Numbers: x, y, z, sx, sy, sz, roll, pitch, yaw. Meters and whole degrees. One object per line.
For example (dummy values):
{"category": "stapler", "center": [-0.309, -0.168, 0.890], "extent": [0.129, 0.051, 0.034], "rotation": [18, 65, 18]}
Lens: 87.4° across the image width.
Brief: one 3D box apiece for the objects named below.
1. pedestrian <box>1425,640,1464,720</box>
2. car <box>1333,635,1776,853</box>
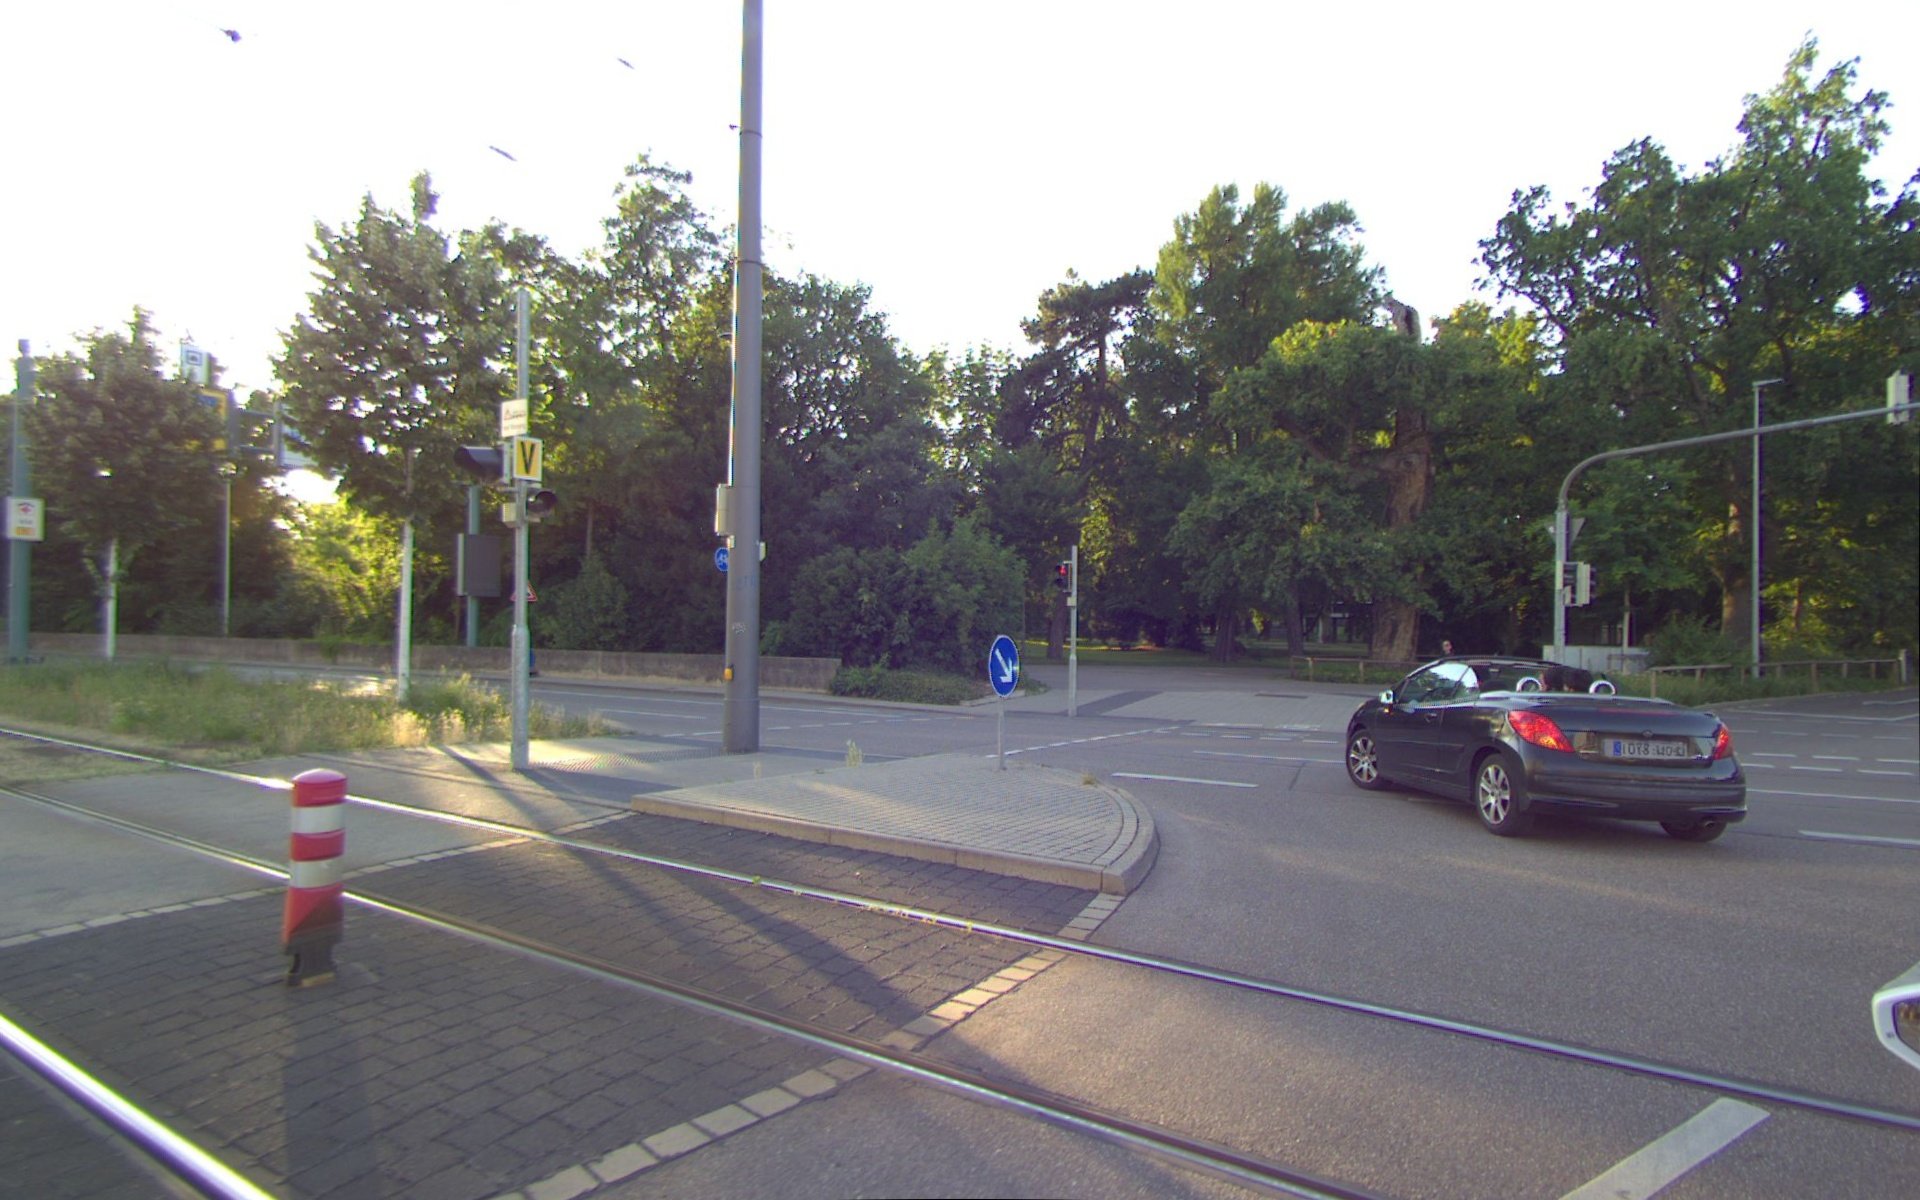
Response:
{"category": "pedestrian", "center": [9.597, 1.561, 19.879], "extent": [0.608, 1.523, 0.579], "rotation": [0, -1, 35]}
{"category": "car", "center": [4.855, 1.071, 8.943], "extent": [1.690, 1.469, 3.902], "rotation": [0, -1, 1]}
